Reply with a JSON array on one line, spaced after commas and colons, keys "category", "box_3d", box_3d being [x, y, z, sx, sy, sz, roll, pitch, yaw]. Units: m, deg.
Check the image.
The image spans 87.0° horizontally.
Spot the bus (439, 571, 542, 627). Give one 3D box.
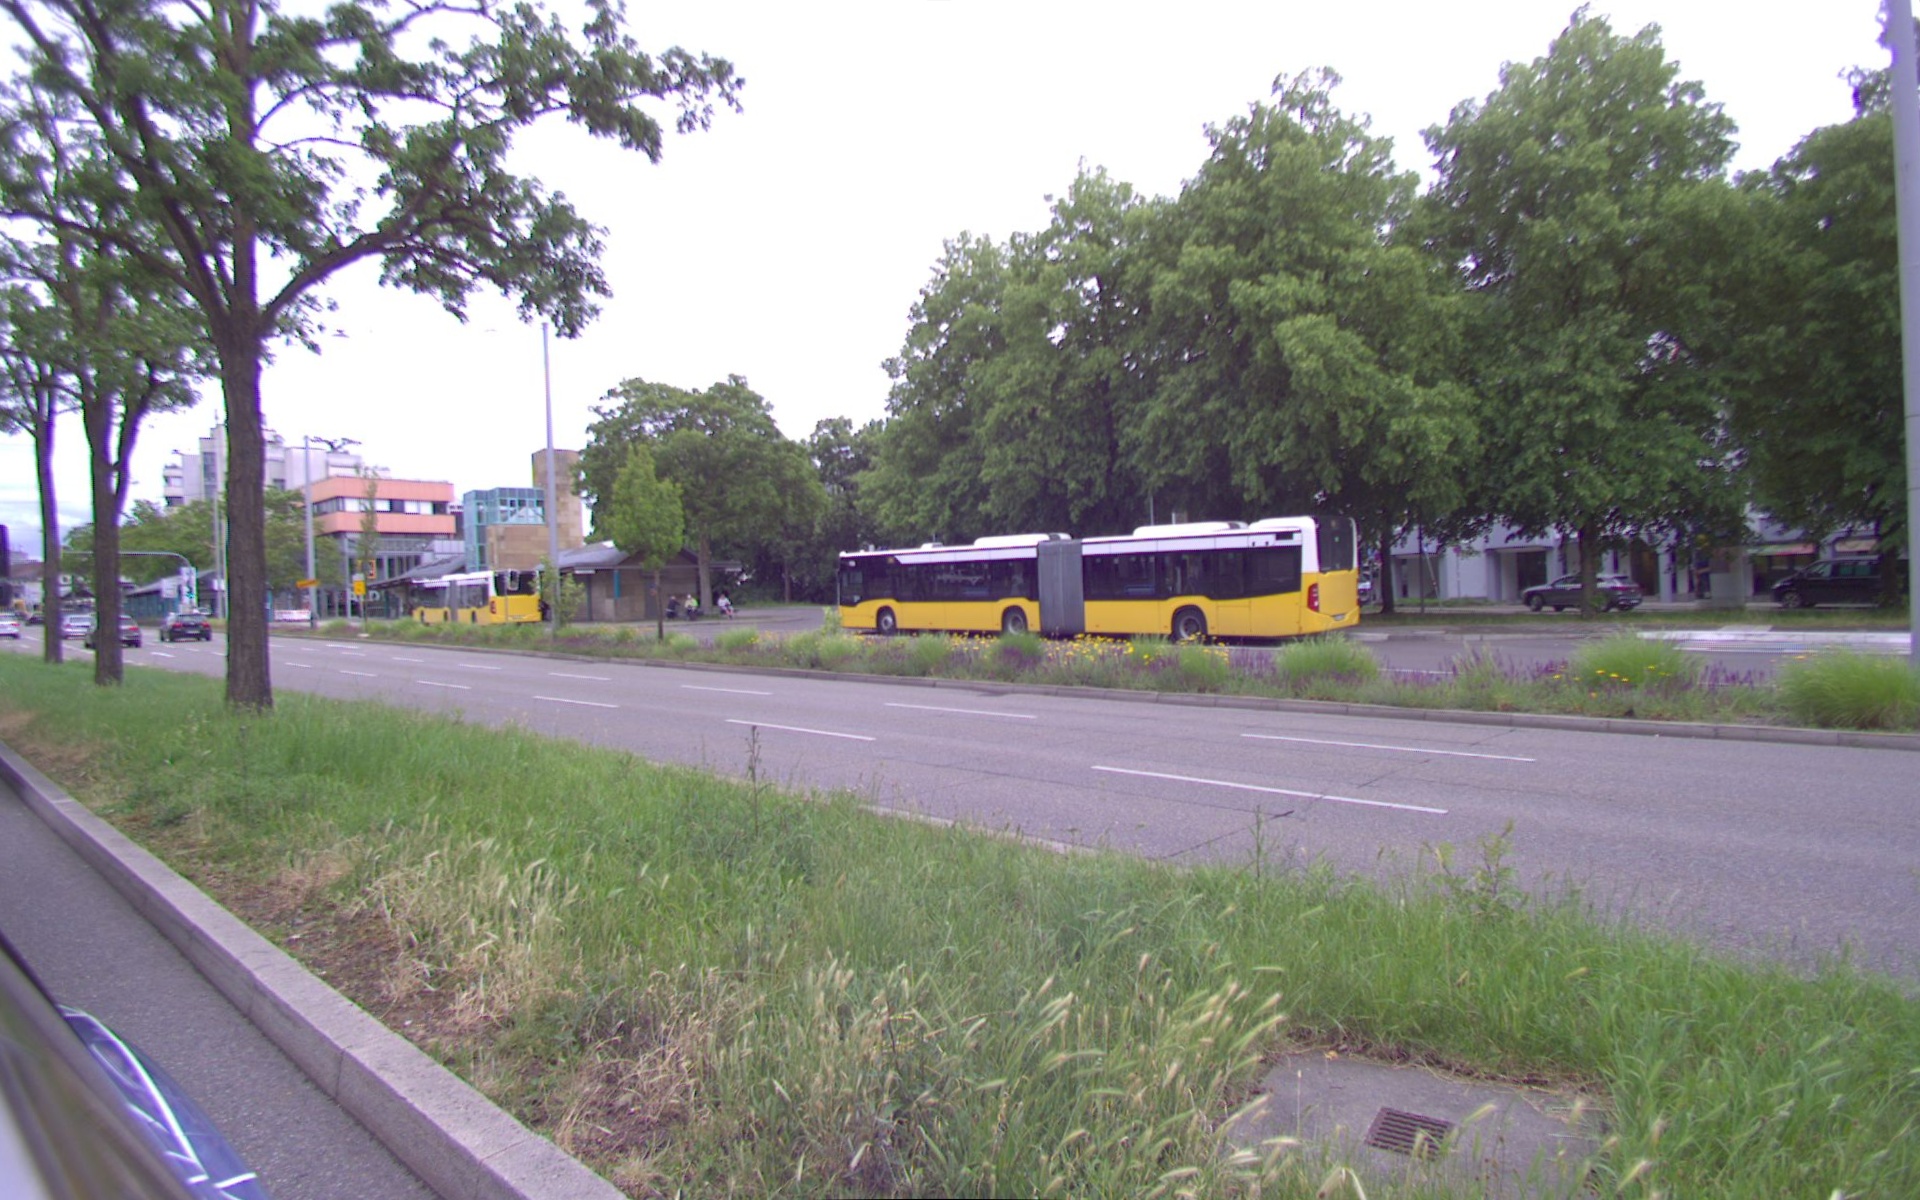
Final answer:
[{"category": "bus", "box_3d": [-25.761, -0.011, 55.231, 2.846, 2.830, 9.191, -1, 0, -40]}]

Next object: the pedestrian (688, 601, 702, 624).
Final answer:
[{"category": "pedestrian", "box_3d": [-13.227, 0.620, 50.527, 0.589, 1.171, 0.745, -1, 0, -23]}]

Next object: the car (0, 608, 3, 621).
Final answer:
[{"category": "car", "box_3d": [-151.333, 2.307, 158.295, 3.998, 2.029, 1.973, -1, 0, 41]}]

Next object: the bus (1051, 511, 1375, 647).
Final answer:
[{"category": "bus", "box_3d": [6.327, -0.427, 26.475, 2.849, 3.025, 7.889, -1, 0, -44]}]

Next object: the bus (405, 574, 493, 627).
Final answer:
[{"category": "bus", "box_3d": [-31.525, 0.058, 62.236, 2.846, 3.025, 9.191, -1, 0, -40]}]

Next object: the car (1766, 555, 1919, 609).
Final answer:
[{"category": "car", "box_3d": [33.139, -0.638, 37.785, 1.758, 1.861, 4.429, -1, 0, -35]}]

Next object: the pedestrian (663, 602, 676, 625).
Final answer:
[{"category": "pedestrian", "box_3d": [-14.953, 0.700, 52.083, 0.590, 1.171, 0.745, -1, 0, -16]}]

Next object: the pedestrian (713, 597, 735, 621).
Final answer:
[{"category": "pedestrian", "box_3d": [-11.910, 0.466, 51.105, 0.924, 1.180, 0.641, -1, 0, 41]}]

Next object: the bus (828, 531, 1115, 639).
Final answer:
[{"category": "bus", "box_3d": [-0.009, -0.344, 33.062, 2.848, 3.025, 10.401, -1, 0, -44]}]

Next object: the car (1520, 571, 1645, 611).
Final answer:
[{"category": "car", "box_3d": [25.423, -0.329, 41.476, 1.729, 1.524, 4.013, -1, 0, -27]}]

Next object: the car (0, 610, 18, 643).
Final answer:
[{"category": "car", "box_3d": [-59.978, 1.659, 63.014, 4.000, 2.029, 1.703, -1, 0, 43]}]

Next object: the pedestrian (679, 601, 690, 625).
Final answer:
[{"category": "pedestrian", "box_3d": [-13.729, 0.627, 50.391, 0.361, 1.175, 0.900, -1, 0, -23]}]
